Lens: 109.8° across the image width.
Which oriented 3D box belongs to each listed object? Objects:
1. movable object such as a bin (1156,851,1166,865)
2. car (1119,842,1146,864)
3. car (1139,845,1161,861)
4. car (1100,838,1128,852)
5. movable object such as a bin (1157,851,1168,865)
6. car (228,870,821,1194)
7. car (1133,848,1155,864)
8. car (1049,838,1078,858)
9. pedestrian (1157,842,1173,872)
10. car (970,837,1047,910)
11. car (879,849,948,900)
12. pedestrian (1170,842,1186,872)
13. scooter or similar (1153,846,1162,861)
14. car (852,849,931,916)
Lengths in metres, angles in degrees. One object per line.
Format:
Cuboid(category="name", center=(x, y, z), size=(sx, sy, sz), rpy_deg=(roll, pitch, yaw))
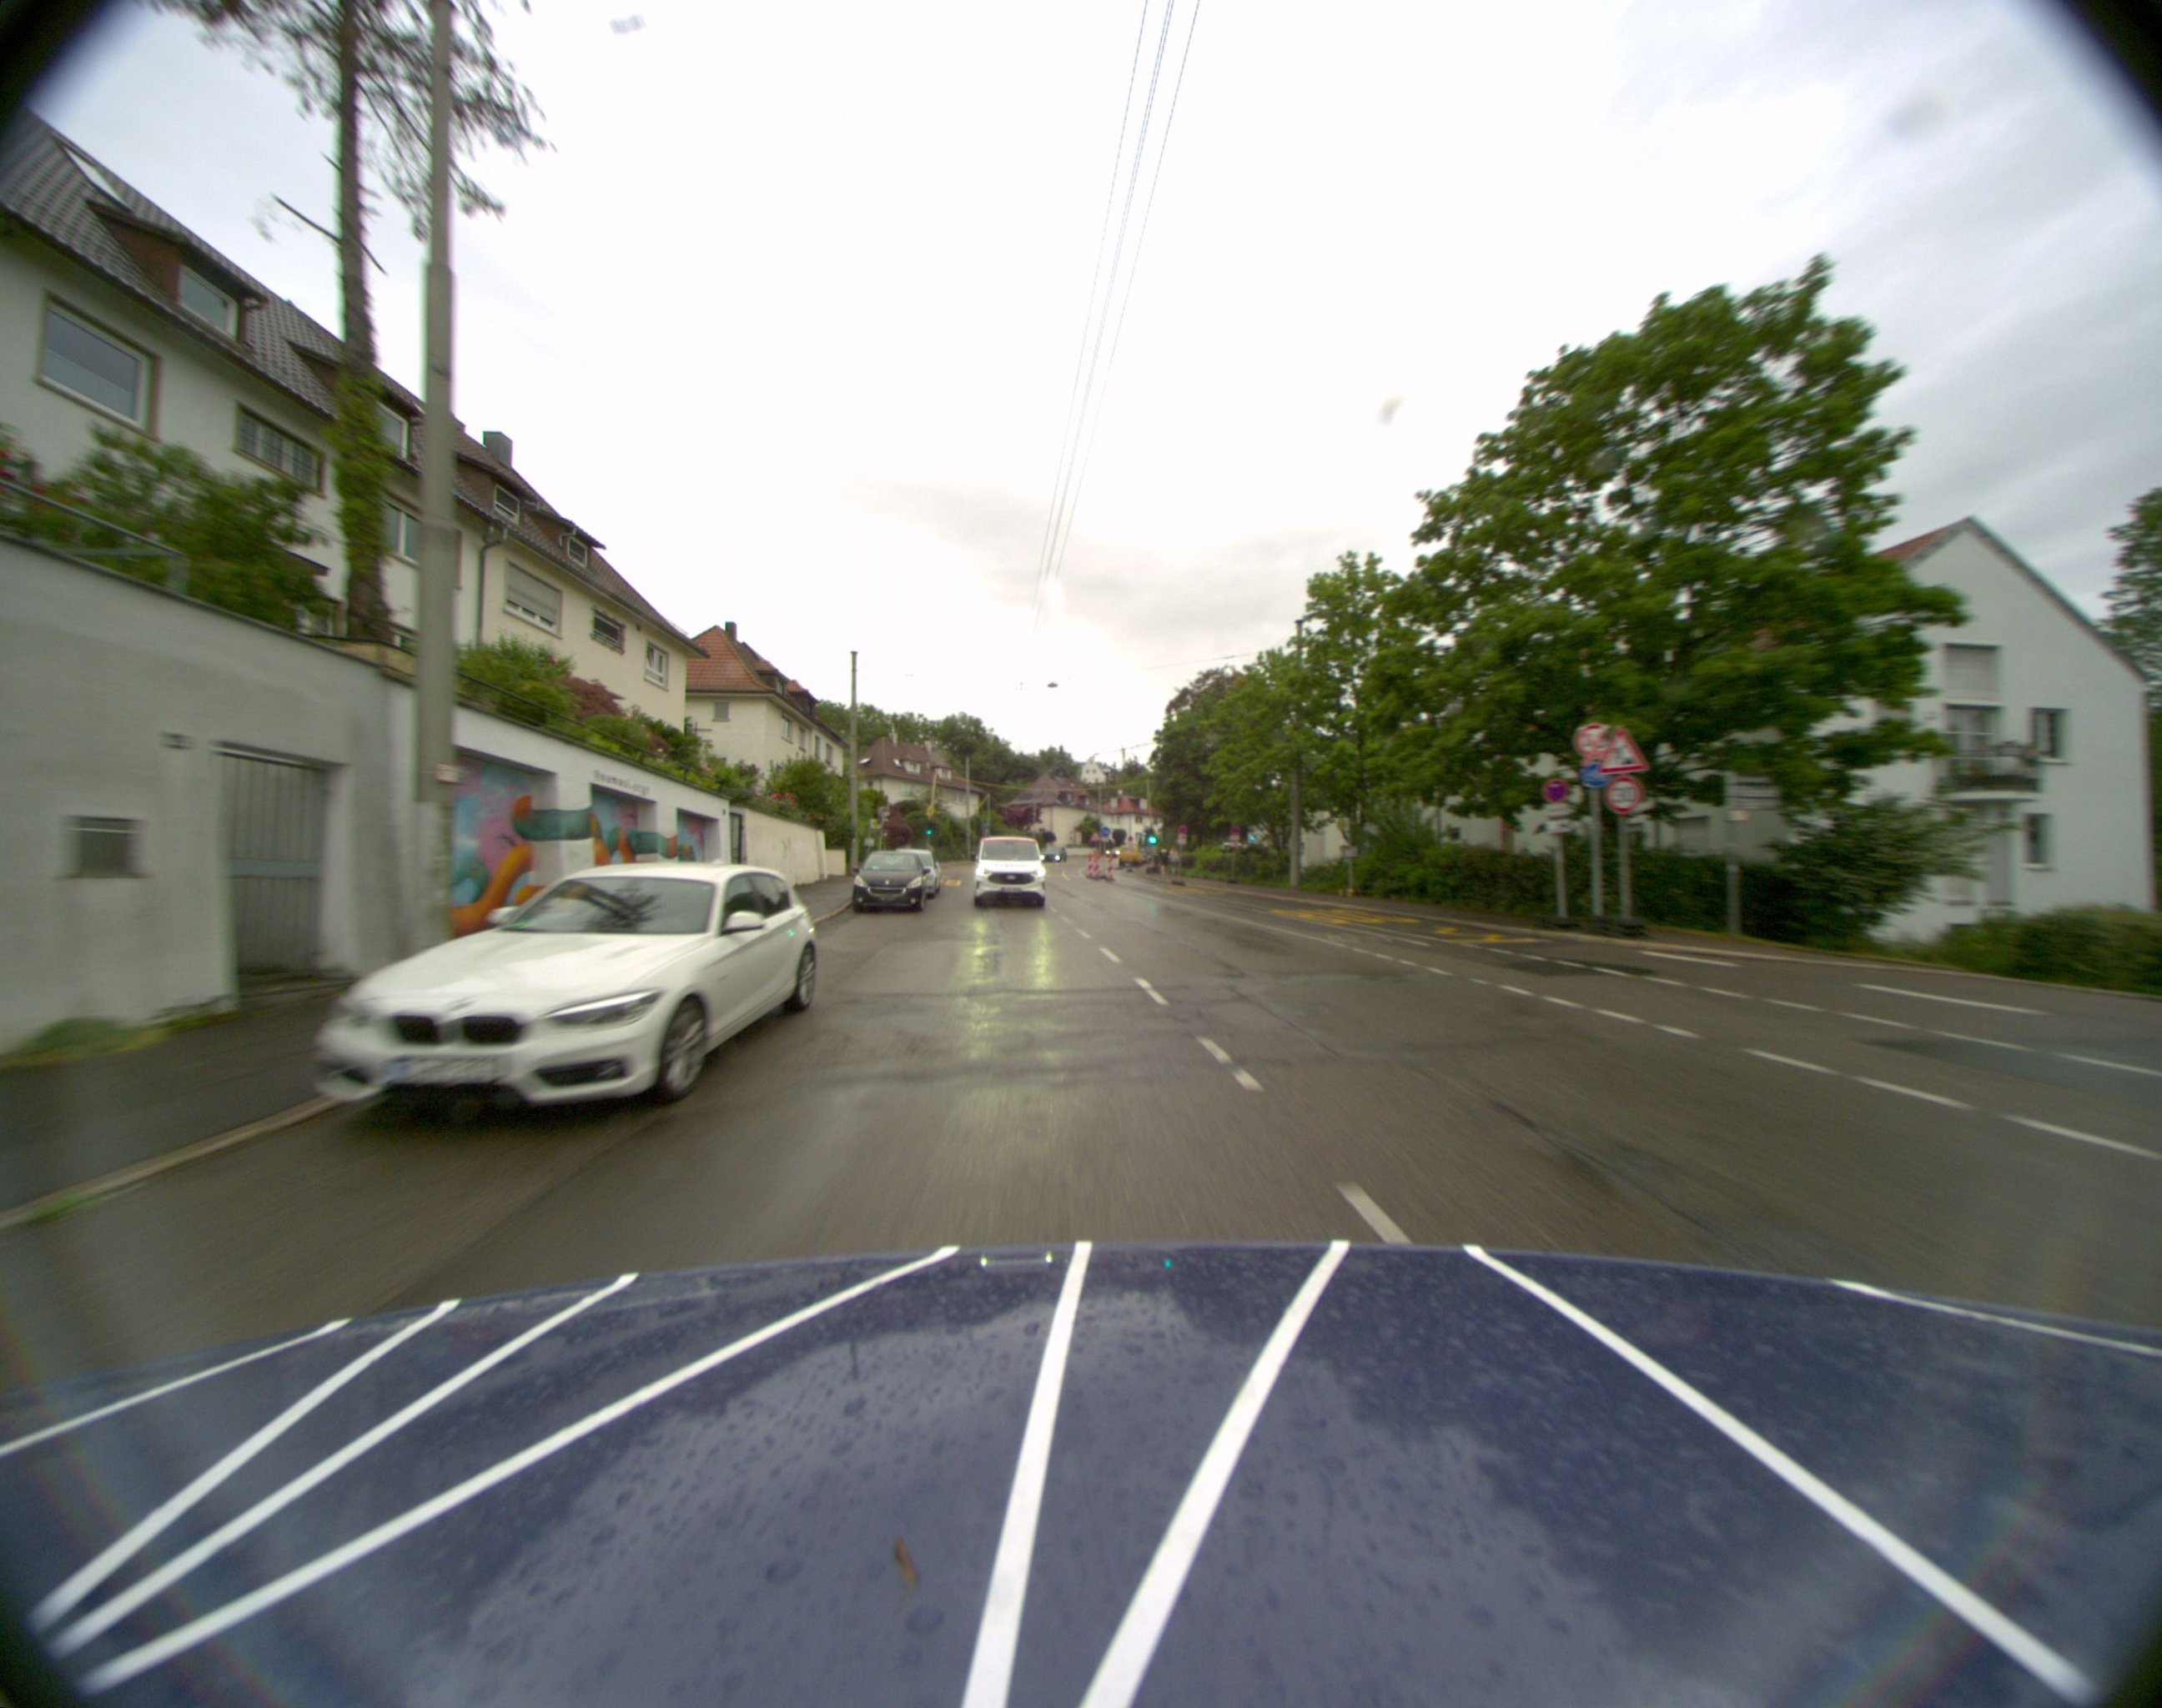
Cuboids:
Cuboid(category="movable object such as a bin", center=(6.913, 0.357, 65.765), size=(0.860, 1.134, 0.713), rpy_deg=(1, 3, 9))
Cuboid(category="car", center=(4.801, -0.157, 70.530), size=(1.806, 1.917, 4.580), rpy_deg=(3, 2, 11))
Cuboid(category="car", center=(7.387, -0.082, 81.380), size=(1.722, 1.599, 4.467), rpy_deg=(1, 1, 13))
Cuboid(category="car", center=(4.288, -1.097, 98.652), size=(1.804, 1.716, 4.586), rpy_deg=(3, 2, 27))
Cuboid(category="movable object such as a bin", center=(7.138, 0.331, 66.488), size=(0.860, 1.134, 0.713), rpy_deg=(1, 3, 9))
Cuboid(category="car", center=(-3.372, 0.912, 5.711), size=(1.710, 1.406, 4.039), rpy_deg=(1, 1, -5))
Cuboid(category="car", center=(6.337, 0.174, 76.084), size=(1.576, 1.446, 3.467), rpy_deg=(2, 2, 13))
Cuboid(category="car", center=(-1.734, -0.618, 76.906), size=(2.013, 1.929, 4.002), rpy_deg=(1, 2, 12))
Cuboid(category="pedestrian", center=(5.204, 0.182, 47.304), size=(0.709, 1.806, 1.146), rpy_deg=(0, 0, -8))
Cuboid(category="car", center=(-2.094, 0.505, 22.569), size=(2.042, 1.928, 4.513), rpy_deg=(1, 1, -4))
Cuboid(category="car", center=(-5.409, 0.601, 25.007), size=(1.787, 1.412, 4.426), rpy_deg=(2, 1, -7))
Cuboid(category="pedestrian", center=(6.031, 0.197, 47.403), size=(0.683, 1.806, 1.154), rpy_deg=(0, 0, -8))
Cuboid(category="scooter or similar", center=(6.687, -0.030, 66.646), size=(0.399, 1.253, 1.319), rpy_deg=(-1, 2, 22))
Cuboid(category="car", center=(-4.852, 0.659, 19.856), size=(1.720, 1.504, 3.995), rpy_deg=(1, 1, -11))
